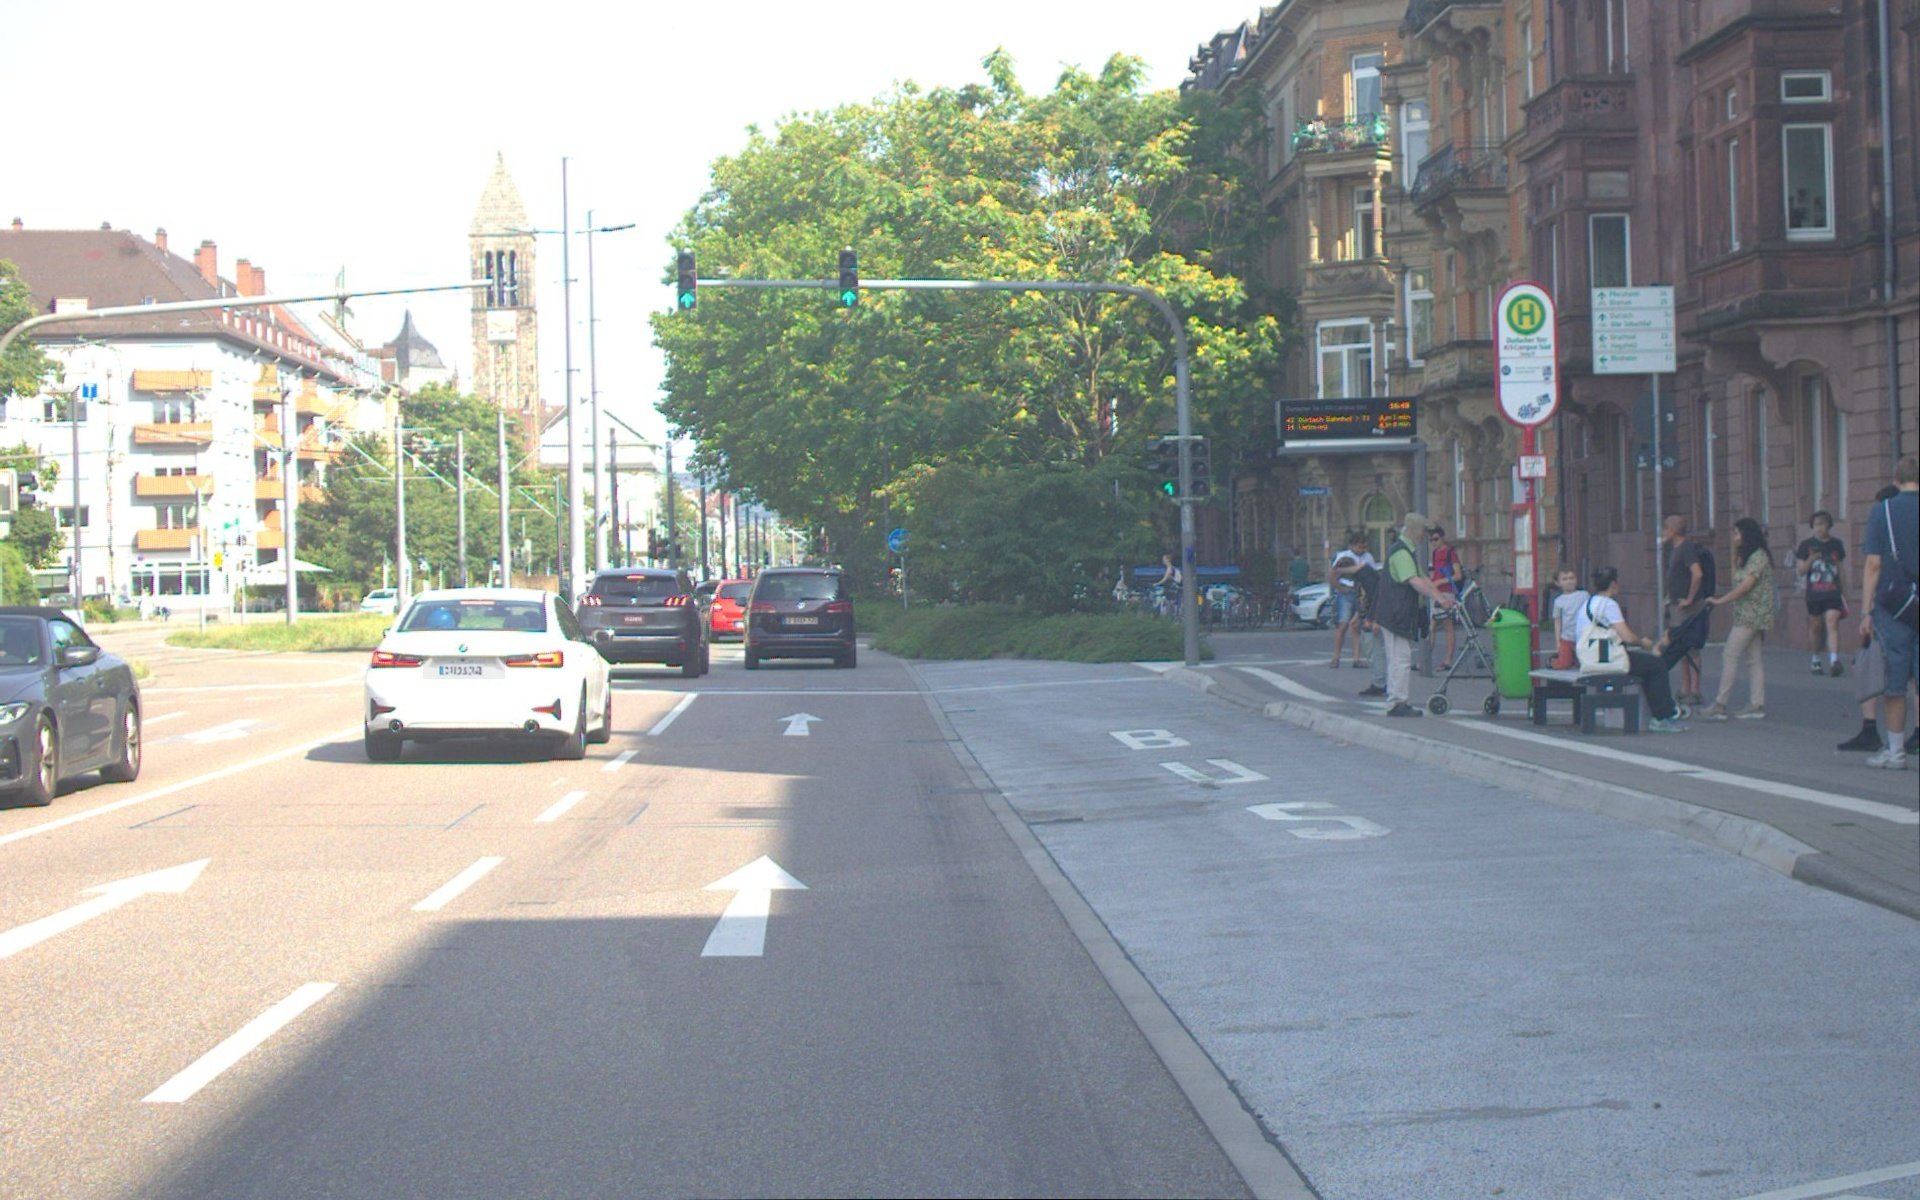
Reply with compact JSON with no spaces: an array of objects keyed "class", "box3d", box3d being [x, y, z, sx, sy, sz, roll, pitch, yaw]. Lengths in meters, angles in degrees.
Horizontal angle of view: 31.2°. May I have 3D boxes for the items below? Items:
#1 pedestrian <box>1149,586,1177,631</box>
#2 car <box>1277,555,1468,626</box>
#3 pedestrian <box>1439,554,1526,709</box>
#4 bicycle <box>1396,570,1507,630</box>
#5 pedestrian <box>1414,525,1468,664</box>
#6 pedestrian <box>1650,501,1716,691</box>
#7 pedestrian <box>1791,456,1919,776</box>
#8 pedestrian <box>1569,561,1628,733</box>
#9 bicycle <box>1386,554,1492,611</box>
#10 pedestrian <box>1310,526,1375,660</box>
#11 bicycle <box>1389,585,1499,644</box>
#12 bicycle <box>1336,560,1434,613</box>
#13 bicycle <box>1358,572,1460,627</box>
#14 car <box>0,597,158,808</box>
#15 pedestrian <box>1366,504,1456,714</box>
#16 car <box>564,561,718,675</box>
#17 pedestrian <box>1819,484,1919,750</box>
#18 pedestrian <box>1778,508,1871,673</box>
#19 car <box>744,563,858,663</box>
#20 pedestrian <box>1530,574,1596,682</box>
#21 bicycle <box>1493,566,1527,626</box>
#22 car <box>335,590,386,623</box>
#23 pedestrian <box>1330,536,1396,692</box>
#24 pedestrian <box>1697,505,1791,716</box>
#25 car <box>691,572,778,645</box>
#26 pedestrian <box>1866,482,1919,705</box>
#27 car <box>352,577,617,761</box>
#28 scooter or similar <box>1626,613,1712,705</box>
[{"class":"pedestrian","box3d":[4.969,0.208,84.172,0.443,1.067,0.487,-2,1,-32]},{"class":"car","box3d":[9.889,-0.236,82.526,4.179,1.558,2.000,-2,1,-6]},{"class":"pedestrian","box3d":[4.373,0.256,28.785,0.565,1.273,0.597,-1,1,-5]},{"class":"bicycle","box3d":[9.045,0.002,63.275,1.927,1.044,0.500,-2,1,-7]},{"class":"pedestrian","box3d":[5.985,-0.073,42.774,0.481,1.696,0.703,-1,1,-5]},{"class":"pedestrian","box3d":[6.684,-0.043,31.817,0.341,1.726,0.806,-1,1,-5]},{"class":"pedestrian","box3d":[5.463,0.081,20.115,0.925,1.825,0.801,-1,1,-5]},{"class":"pedestrian","box3d":[4.775,0.346,25.724,0.275,1.270,0.448,-1,1,-9]},{"class":"bicycle","box3d":[9.228,-0.335,66.259,1.927,1.044,0.500,-2,1,-7]},{"class":"pedestrian","box3d":[4.801,-0.093,43.156,0.690,1.658,0.619,-1,1,-1]},{"class":"bicycle","box3d":[9.009,0.273,64.001,1.927,1.044,0.500,-2,1,-7]},{"class":"bicycle","box3d":[8.838,-0.291,71.457,1.927,1.044,0.527,-2,1,-7]},{"class":"bicycle","box3d":[8.927,-0.014,68.371,1.927,1.044,0.527,-2,1,-7]},{"class":"car","box3d":[-7.098,0.703,24.669,1.713,1.326,4.521,-3,1,-2]},{"class":"pedestrian","box3d":[3.771,0.068,28.771,0.565,1.723,0.745,-1,1,-5]},{"class":"car","box3d":[-4.711,0.231,51.298,1.993,1.615,4.357,0,1,-1]},{"class":"pedestrian","box3d":[6.222,0.101,22.821,0.749,1.723,0.801,-1,1,-5]},{"class":"pedestrian","box3d":[9.209,-0.102,36.655,0.701,1.718,0.897,-1,1,-2]},{"class":"car","box3d":[-2.637,0.184,57.907,1.831,1.615,4.357,0,1,-1]},{"class":"pedestrian","box3d":[4.662,0.212,26.581,0.303,0.817,0.604,-1,1,-9]},{"class":"bicycle","box3d":[9.825,-0.078,61.472,0.416,1.044,1.670,-1,1,3]},{"class":"car","box3d":[-29.128,0.300,167.147,1.993,1.495,4.001,-2,1,-4]},{"class":"pedestrian","box3d":[4.229,0.141,36.094,0.528,1.606,0.703,-1,1,-5]},{"class":"pedestrian","box3d":[6.514,0.084,28.570,0.565,1.723,0.617,-1,1,-5]},{"class":"car","box3d":[-5.144,0.173,78.811,1.831,1.615,4.357,0,1,-1]},{"class":"pedestrian","box3d":[7.917,-0.064,28.237,0.617,1.798,1.071,-1,0,-1]},{"class":"car","box3d":[-4.085,0.546,30.201,1.809,1.422,4.775,1,1,-2]},{"class":"scooter or similar","box3d":[5.882,0.486,28.533,0.565,0.739,0.514,-1,1,-5]}]
